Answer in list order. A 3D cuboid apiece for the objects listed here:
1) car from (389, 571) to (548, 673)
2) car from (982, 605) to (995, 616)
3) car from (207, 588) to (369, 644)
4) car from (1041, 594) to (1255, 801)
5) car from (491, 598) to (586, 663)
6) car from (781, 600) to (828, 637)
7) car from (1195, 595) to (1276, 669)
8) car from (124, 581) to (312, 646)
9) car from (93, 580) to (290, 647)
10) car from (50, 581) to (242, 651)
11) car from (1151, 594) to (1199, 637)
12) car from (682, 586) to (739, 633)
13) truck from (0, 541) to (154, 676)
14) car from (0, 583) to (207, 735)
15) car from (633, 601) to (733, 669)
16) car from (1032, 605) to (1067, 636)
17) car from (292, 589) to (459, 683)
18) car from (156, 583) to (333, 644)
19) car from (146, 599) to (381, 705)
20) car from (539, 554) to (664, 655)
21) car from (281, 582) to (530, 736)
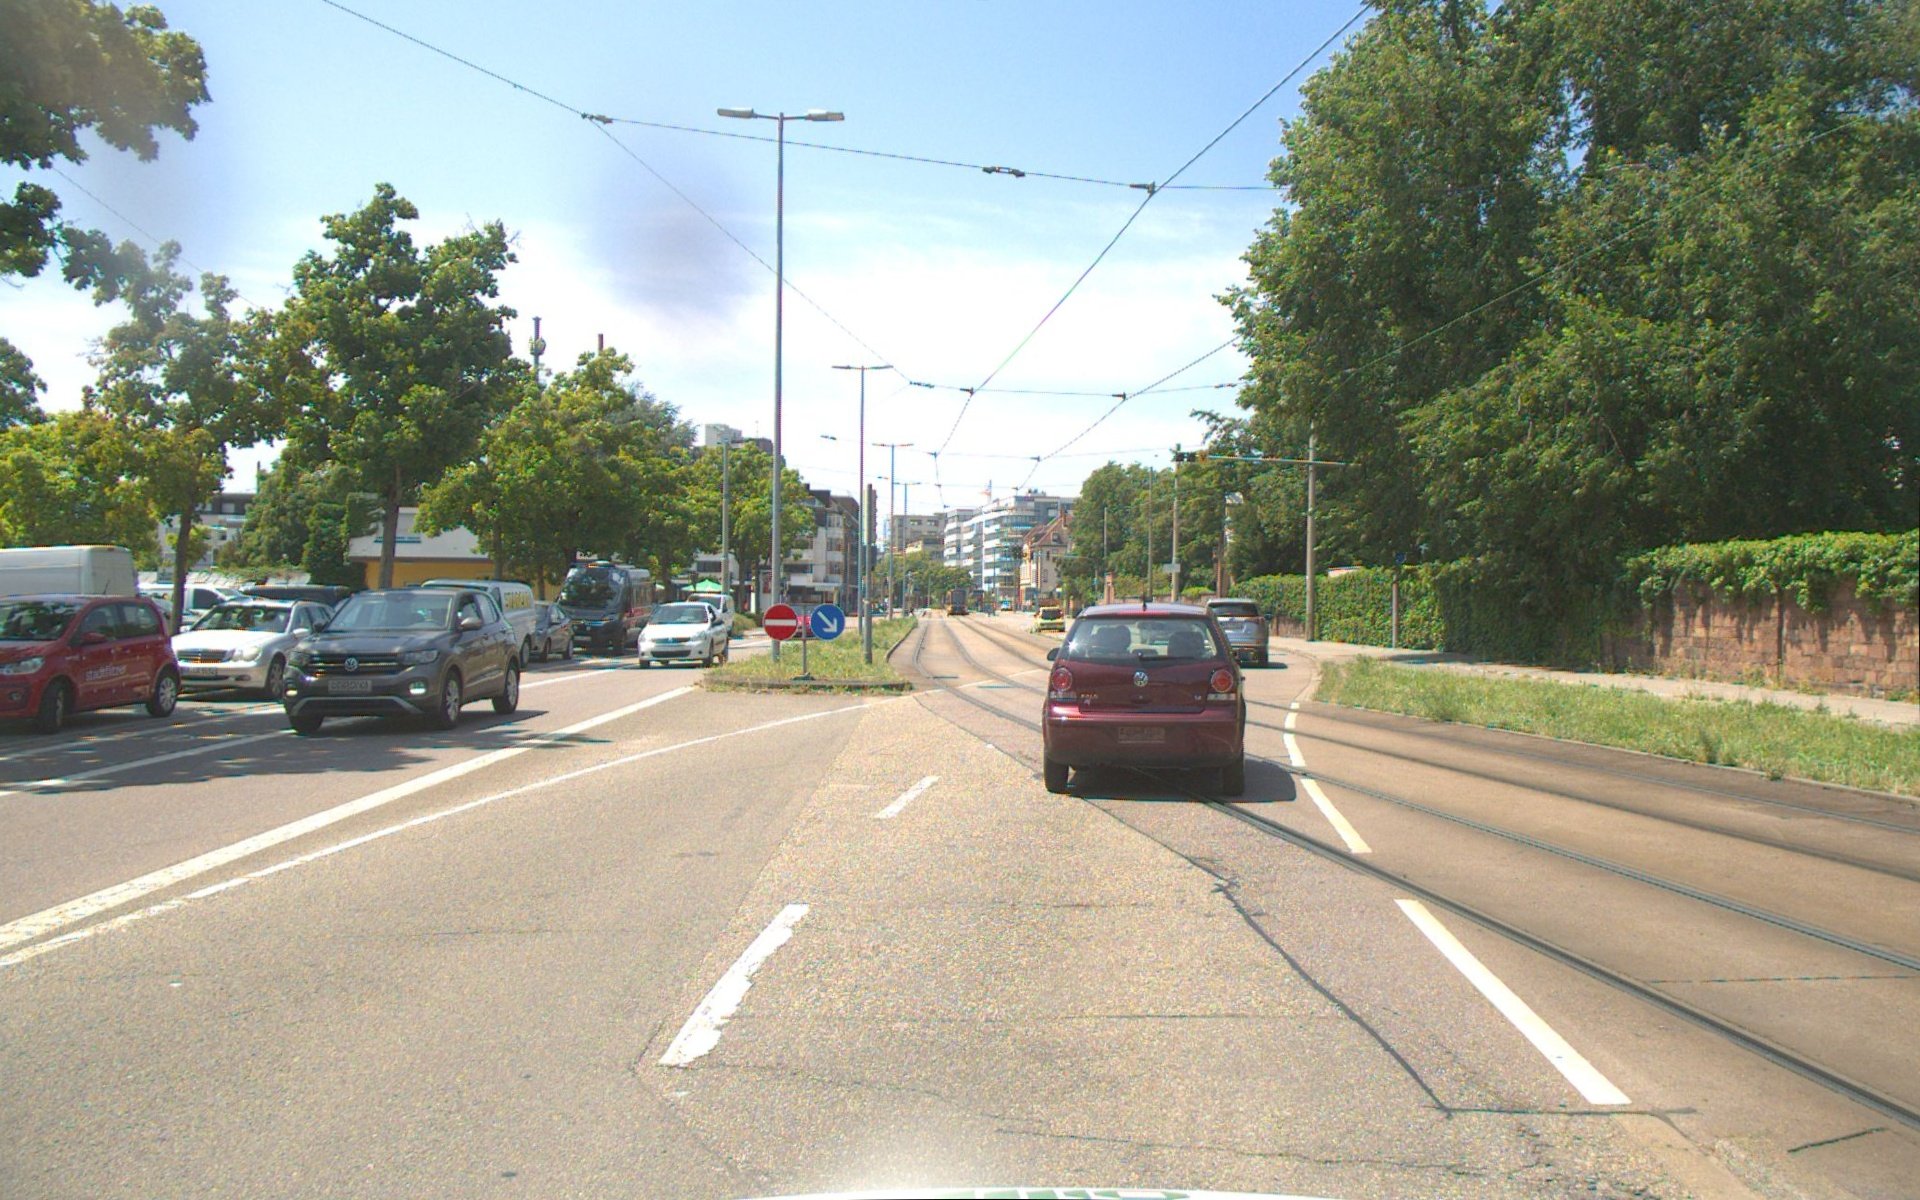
[{"bbox_3d":[-10.613,0.457,36.078,1.824,1.971,4.806,4,0,1],"label":"car"},{"bbox_3d":[3.331,1.215,193.744,1.326,1.274,2.972,1,0,-1],"label":"car"},{"bbox_3d":[-22.286,0.525,54.944,4.622,1.845,1.796,0,0,-1],"label":"car"},{"bbox_3d":[1.728,0.736,14.332,1.575,1.524,4.003,-1,0,9],"label":"car"},{"bbox_3d":[-10.616,0.737,41.896,1.377,1.465,3.839,4,0,-1],"label":"car"},{"bbox_3d":[-6.312,0.751,67.453,1.624,1.434,3.605,-1,0,-1],"label":"car"},{"bbox_3d":[6.938,0.771,41.433,1.757,1.712,4.003,1,0,12],"label":"car"},{"bbox_3d":[-21.546,0.378,48.147,4.623,1.845,1.796,0,0,-3],"label":"car"},{"bbox_3d":[-21.382,0.373,46.120,4.623,1.845,1.796,0,0,-3],"label":"car"},{"bbox_3d":[-21.356,0.402,43.507,4.125,1.796,1.856,0,0,-3],"label":"car"},{"bbox_3d":[8.761,0.608,67.755,1.737,1.659,4.002,1,0,5],"label":"car"},{"bbox_3d":[-10.973,0.405,73.049,1.837,2.000,5.163,0,0,-1],"label":"car"},{"bbox_3d":[-20.786,0.176,35.803,5.464,2.808,2.432,0,0,0],"label":"truck"},{"bbox_3d":[-10.458,0.620,19.164,1.637,1.573,3.727,1,-1,1],"label":"car"},{"bbox_3d":[-6.175,0.755,37.166,1.615,1.400,3.810,-2,-1,-1],"label":"car"},{"bbox_3d":[5.283,1.195,97.738,1.758,1.712,3.999,1,0,-1],"label":"car"},{"bbox_3d":[-10.708,0.631,30.577,1.581,1.510,3.785,4,0,1],"label":"car"},{"bbox_3d":[-21.952,0.401,50.868,4.623,1.845,1.796,0,0,-3],"label":"car"},{"bbox_3d":[-10.688,0.736,25.787,1.684,1.452,4.770,2,0,-1],"label":"car"},{"bbox_3d":[-10.665,0.135,49.776,2.350,2.702,6.171,4,0,-1],"label":"car"},{"bbox_3d":[-6.324,0.620,19.288,1.702,1.603,3.712,-1,0,-1],"label":"car"}]
